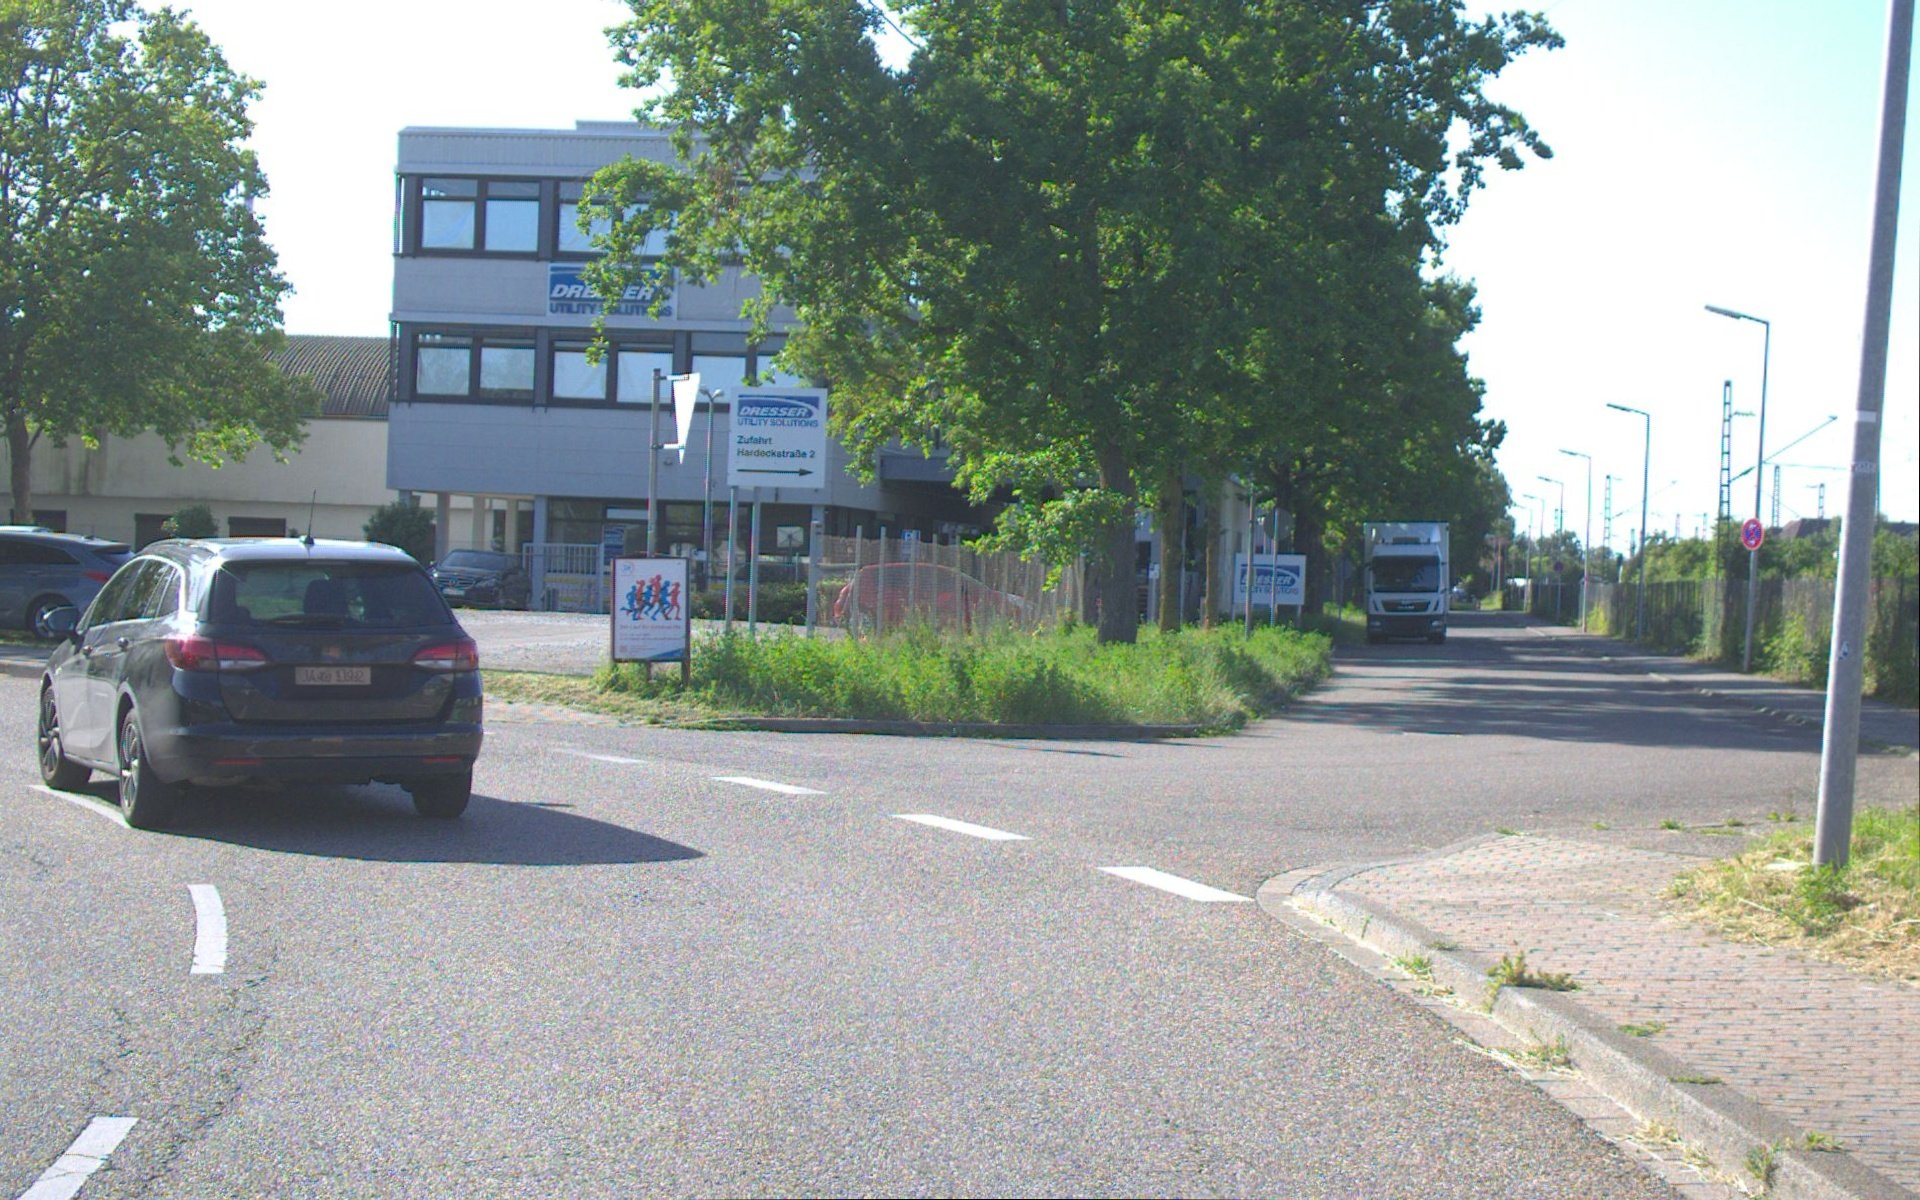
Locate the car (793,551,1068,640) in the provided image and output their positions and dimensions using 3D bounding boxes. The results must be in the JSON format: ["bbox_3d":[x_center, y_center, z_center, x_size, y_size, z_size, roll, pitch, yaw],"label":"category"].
[{"bbox_3d":[-0.546,-0.106,66.021,4.913,1.479,1.999,2,2,13],"label":"car"}]

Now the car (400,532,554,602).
[{"bbox_3d":[-11.065,-0.784,79.172,1.994,1.479,4.924,2,2,11],"label":"car"}]

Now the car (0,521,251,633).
[{"bbox_3d":[-13.099,-0.374,50.267,4.912,1.479,1.999,2,1,8],"label":"car"}]

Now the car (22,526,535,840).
[{"bbox_3d":[-3.905,0.360,19.022,1.942,1.483,4.567,0,1,-22],"label":"car"}]

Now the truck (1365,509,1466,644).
[{"bbox_3d":[14.305,-0.747,108.785,2.613,3.872,13.529,3,1,6],"label":"truck"}]

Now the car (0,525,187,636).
[{"bbox_3d":[-13.460,-0.332,47.691,4.912,1.421,1.999,2,1,8],"label":"car"}]
